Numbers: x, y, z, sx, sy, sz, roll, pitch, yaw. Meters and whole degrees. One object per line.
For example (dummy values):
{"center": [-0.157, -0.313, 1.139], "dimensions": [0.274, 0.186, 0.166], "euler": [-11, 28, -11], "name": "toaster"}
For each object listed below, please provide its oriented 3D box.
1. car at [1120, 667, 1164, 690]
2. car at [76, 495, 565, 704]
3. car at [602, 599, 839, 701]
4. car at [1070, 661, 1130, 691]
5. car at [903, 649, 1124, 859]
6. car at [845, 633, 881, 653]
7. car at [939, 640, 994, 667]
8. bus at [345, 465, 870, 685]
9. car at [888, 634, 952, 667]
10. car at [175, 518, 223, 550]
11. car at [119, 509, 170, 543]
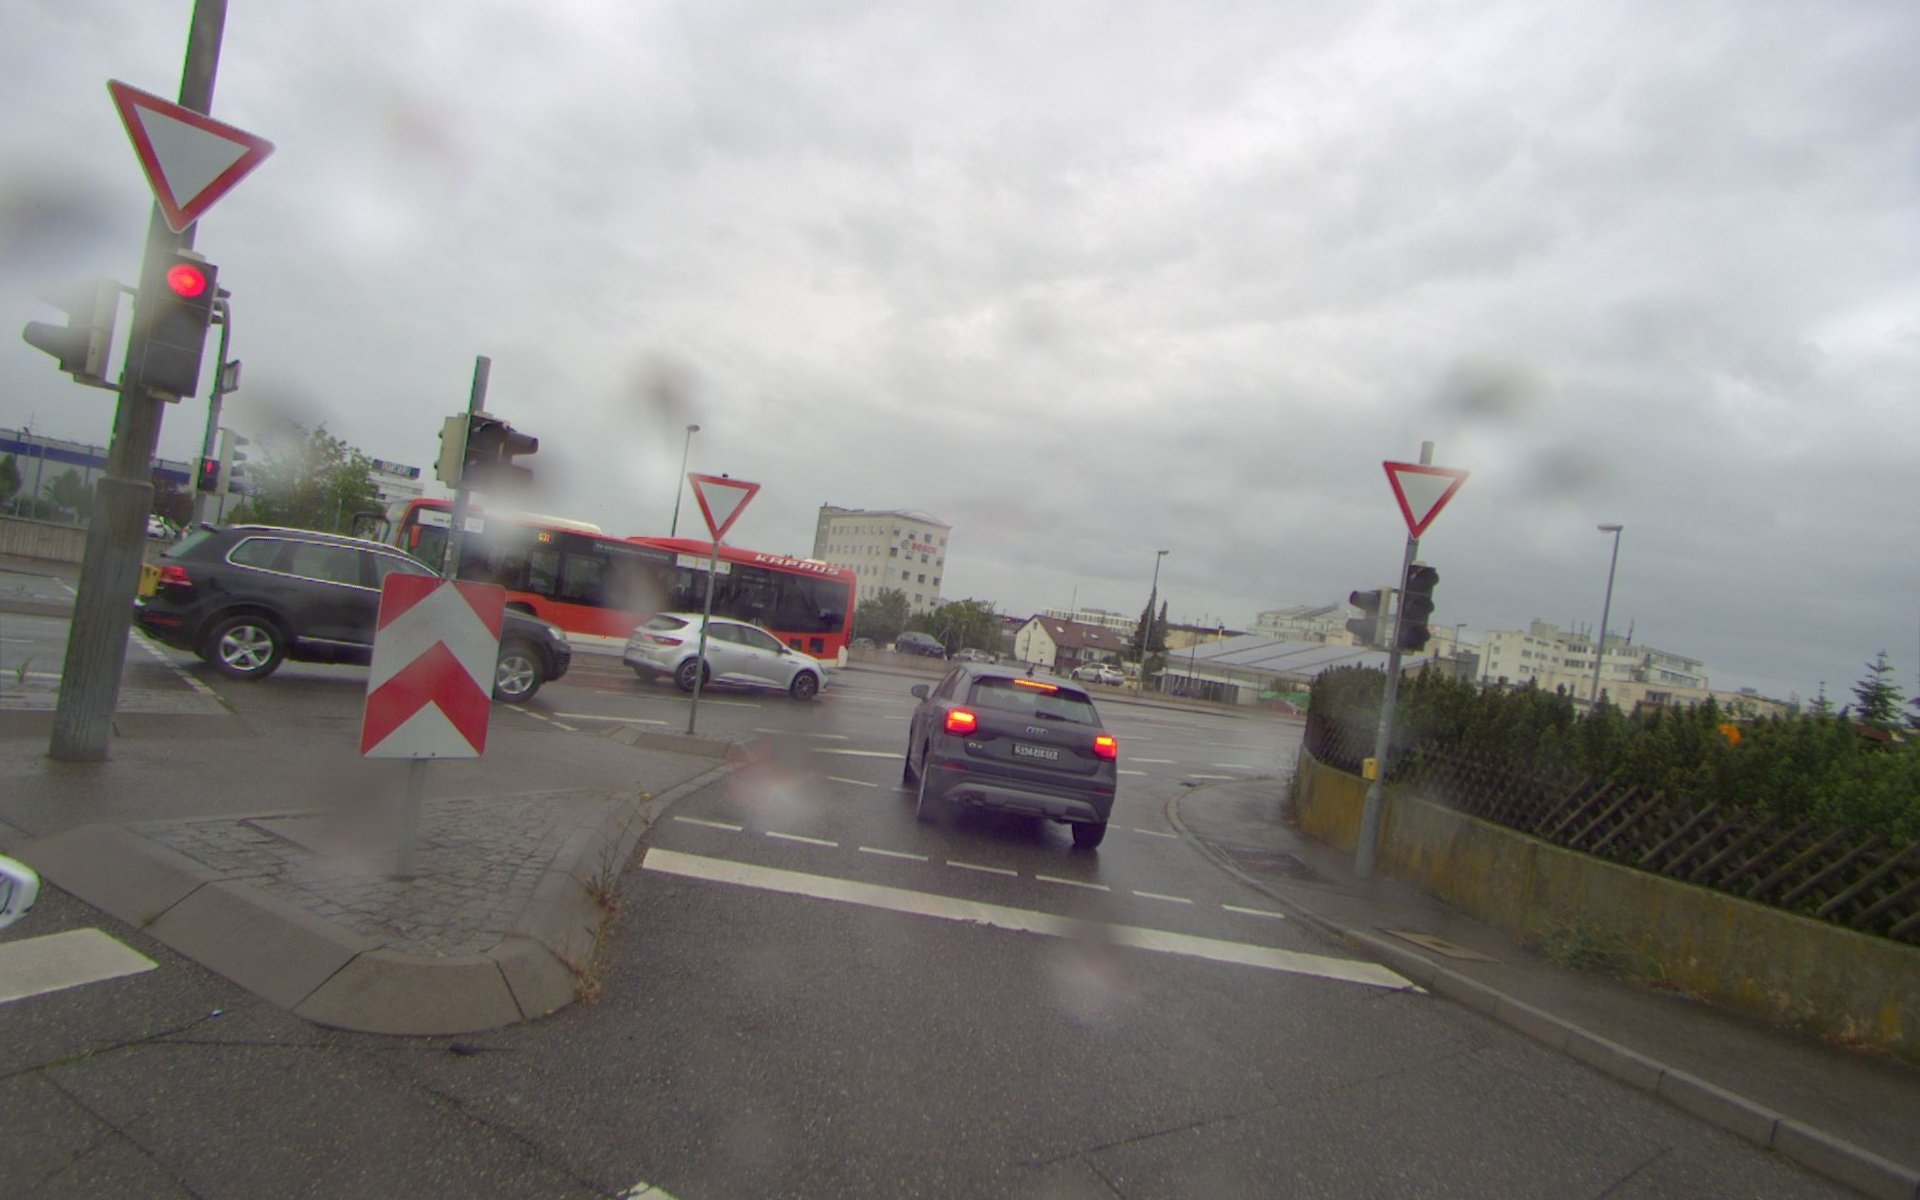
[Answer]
{"center": [18.052, 7.803, 99.813], "dimensions": [3.760, 1.771, 1.887], "euler": [9, -2, -29], "name": "car"}
{"center": [-7.593, 0.085, 12.285], "dimensions": [4.589, 1.721, 1.975], "euler": [12, -4, -44], "name": "car"}
{"center": [-4.715, 1.044, 20.194], "dimensions": [4.131, 1.432, 1.903], "euler": [11, -3, -44], "name": "car"}
{"center": [9.729, 5.250, 70.048], "dimensions": [1.979, 1.494, 3.971], "euler": [9, -2, -29], "name": "car"}
{"center": [0.348, 1.405, 10.481], "dimensions": [1.659, 1.511, 3.942], "euler": [10, -3, -3], "name": "car"}
{"center": [-9.679, 4.273, 100.449], "dimensions": [1.979, 1.494, 3.971], "euler": [9, -2, -29], "name": "car"}
{"center": [0.536, 4.370, 82.219], "dimensions": [3.951, 1.494, 1.989], "euler": [9, -2, -24], "name": "car"}
{"center": [-8.293, -0.269, 25.862], "dimensions": [12.247, 3.357, 3.039], "euler": [12, -3, -41], "name": "bus"}
{"center": [-2.480, 3.087, 61.949], "dimensions": [1.983, 1.494, 3.964], "euler": [10, -2, -34], "name": "car"}
{"center": [-43.903, -3.807, 58.019], "dimensions": [1.986, 1.495, 3.958], "euler": [10, -2, -38], "name": "car"}
{"center": [-45.623, -4.133, 56.351], "dimensions": [1.985, 1.495, 3.959], "euler": [10, -2, -38], "name": "car"}
